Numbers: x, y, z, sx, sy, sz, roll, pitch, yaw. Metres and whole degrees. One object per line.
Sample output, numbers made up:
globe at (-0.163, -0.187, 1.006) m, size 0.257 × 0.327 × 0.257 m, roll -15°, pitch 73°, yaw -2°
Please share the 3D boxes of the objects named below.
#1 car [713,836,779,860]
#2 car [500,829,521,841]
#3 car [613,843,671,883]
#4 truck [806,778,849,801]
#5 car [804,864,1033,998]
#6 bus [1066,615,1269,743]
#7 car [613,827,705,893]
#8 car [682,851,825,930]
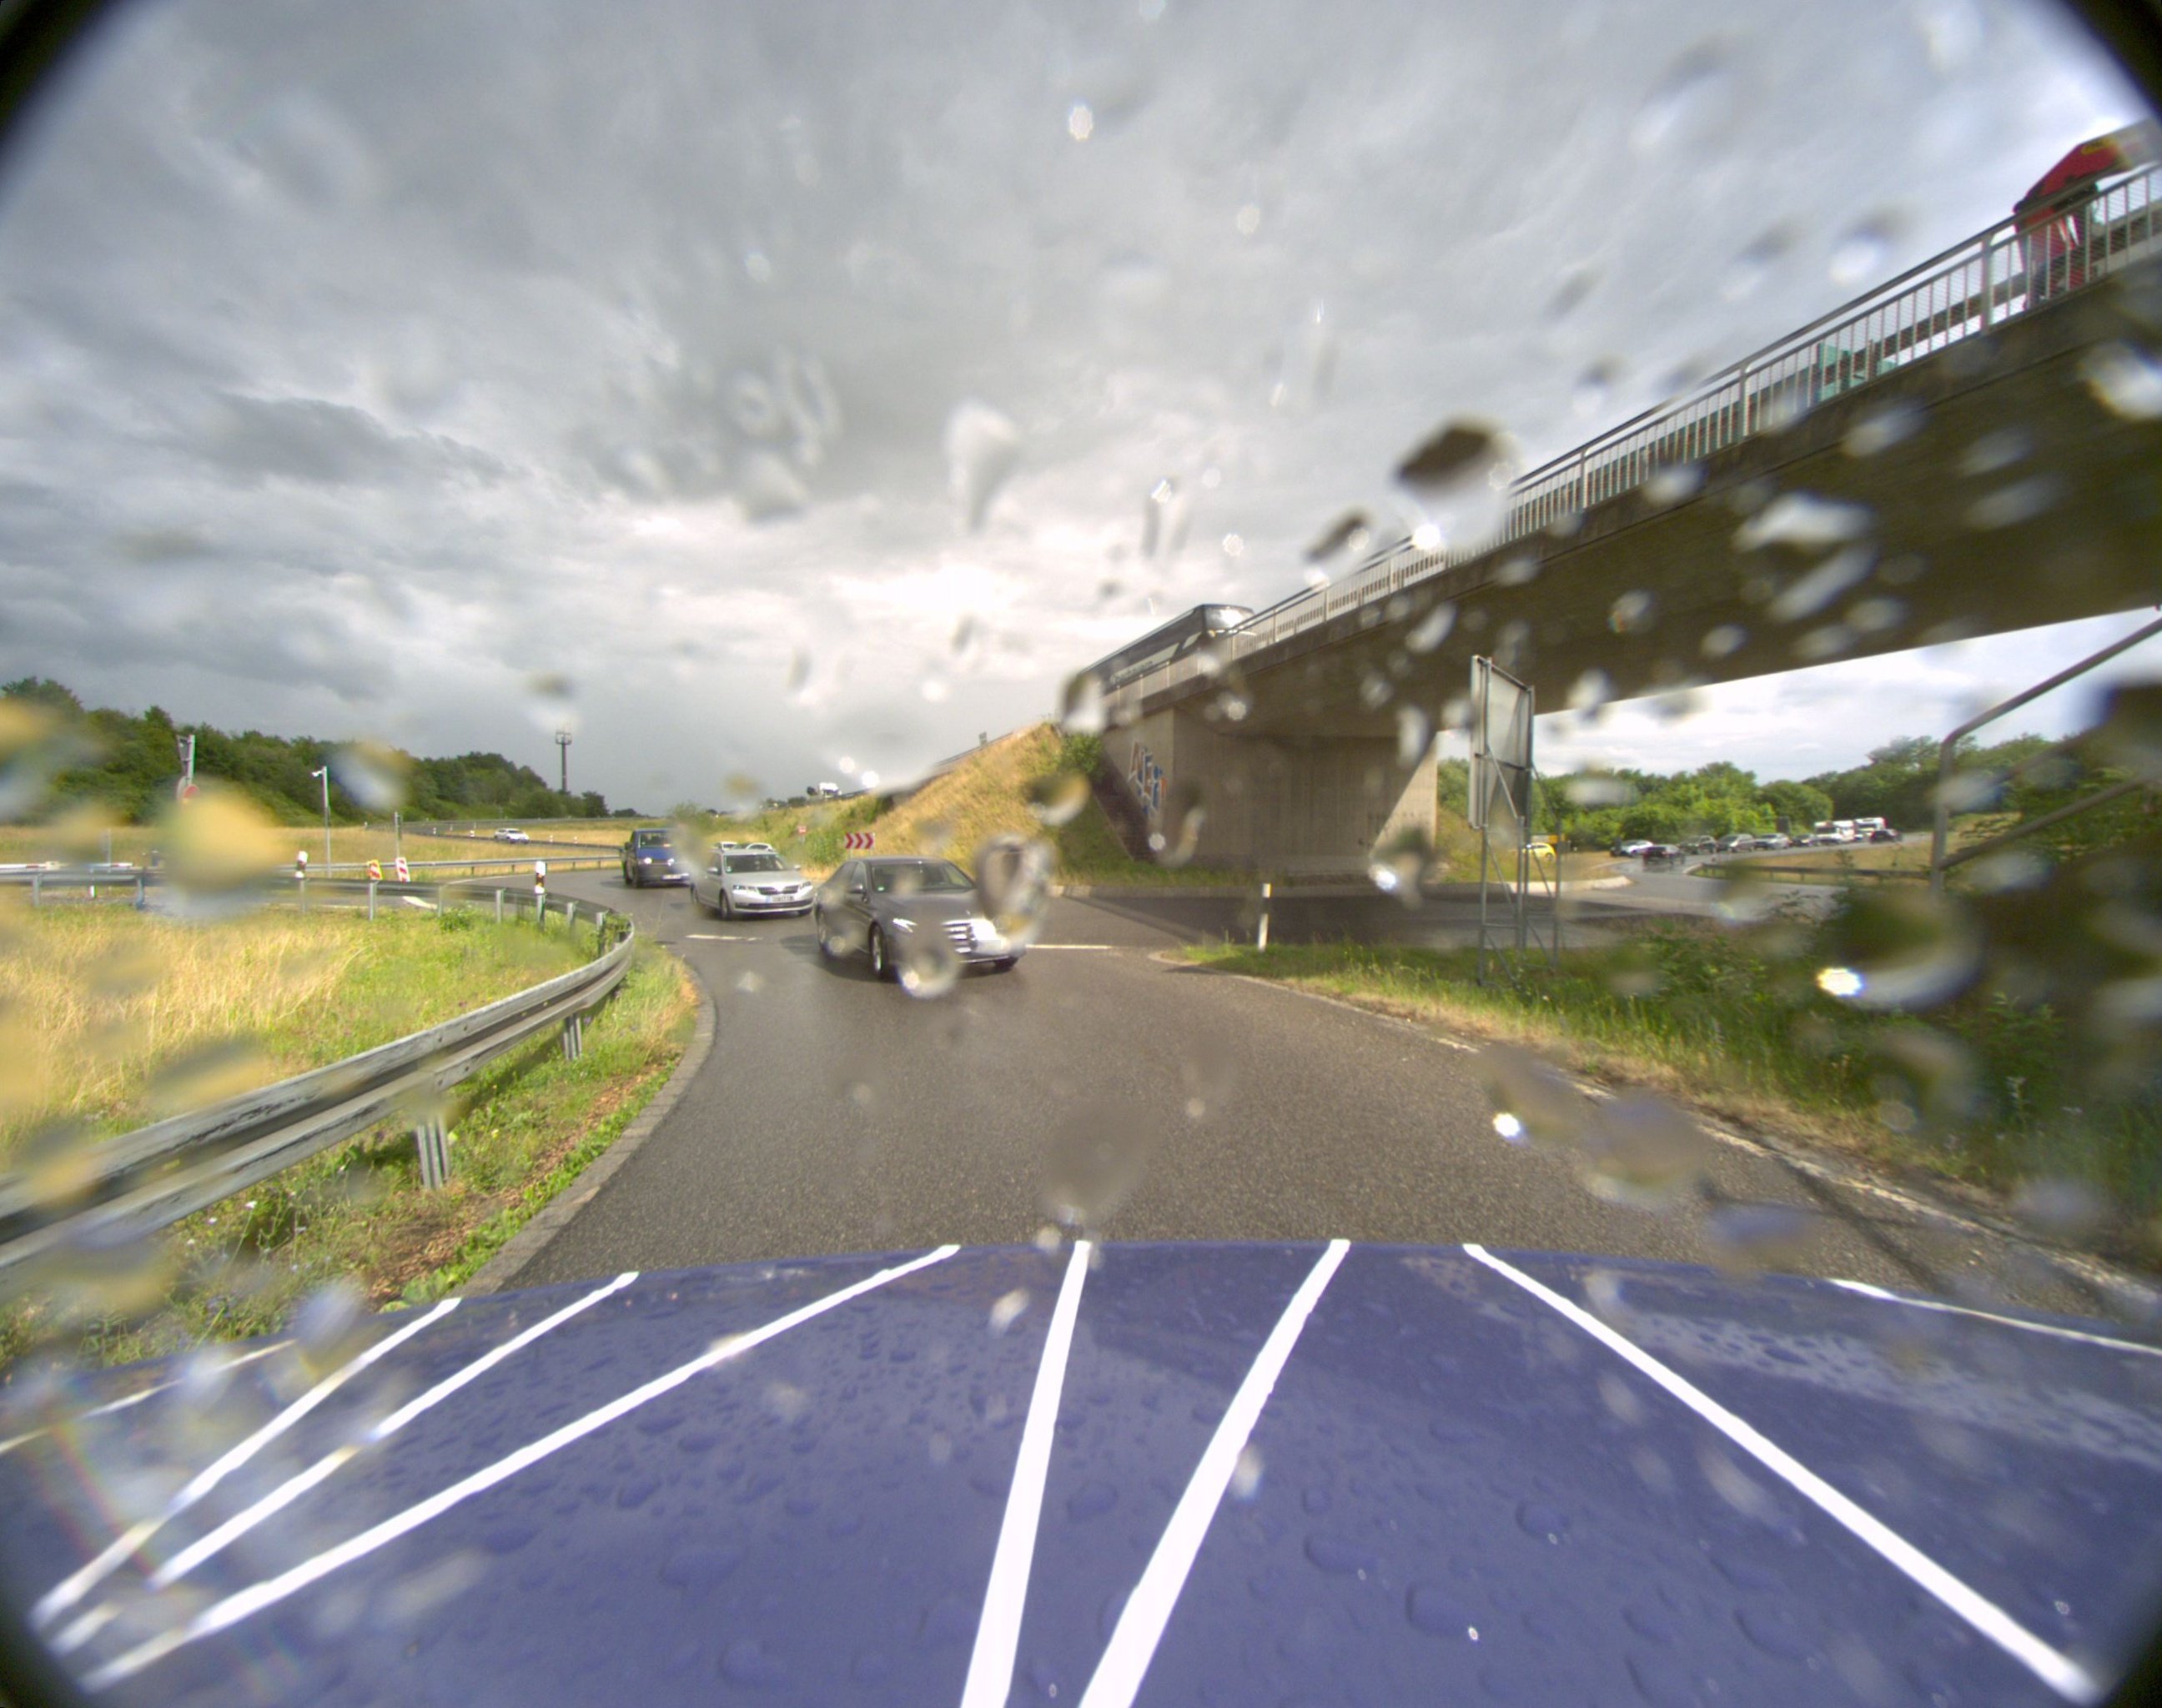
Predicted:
car at (-21.800, -0.433, 49.592) m, size 1.614 × 1.466 × 3.852 m, roll 1°, pitch 2°, yaw 23°
car at (-62.054, -2.071, 82.650) m, size 1.715 × 1.283 × 3.763 m, roll -1°, pitch 2°, yaw -38°
car at (-18.010, 0.302, 31.097) m, size 1.660 × 1.466 × 3.835 m, roll -1°, pitch 2°, yaw -35°
truck at (-40.807, -10.327, 122.128) m, size 3.167 × 3.177 × 9.251 m, roll -3°, pitch 4°, yaw -40°
car at (-2.540, 0.890, 10.847) m, size 1.774 × 1.383 × 4.579 m, roll -2°, pitch 1°, yaw -31°
bus at (3.115, -7.336, 34.524) m, size 2.616 × 3.063 × 14.431 m, roll -2°, pitch 3°, yaw -22°
car at (-14.334, 0.087, 25.636) m, size 1.897 × 1.904 × 5.664 m, roll -1°, pitch 3°, yaw -37°
car at (-7.369, 0.690, 16.872) m, size 1.801 × 1.391 × 4.336 m, roll -3°, pitch 3°, yaw -38°
